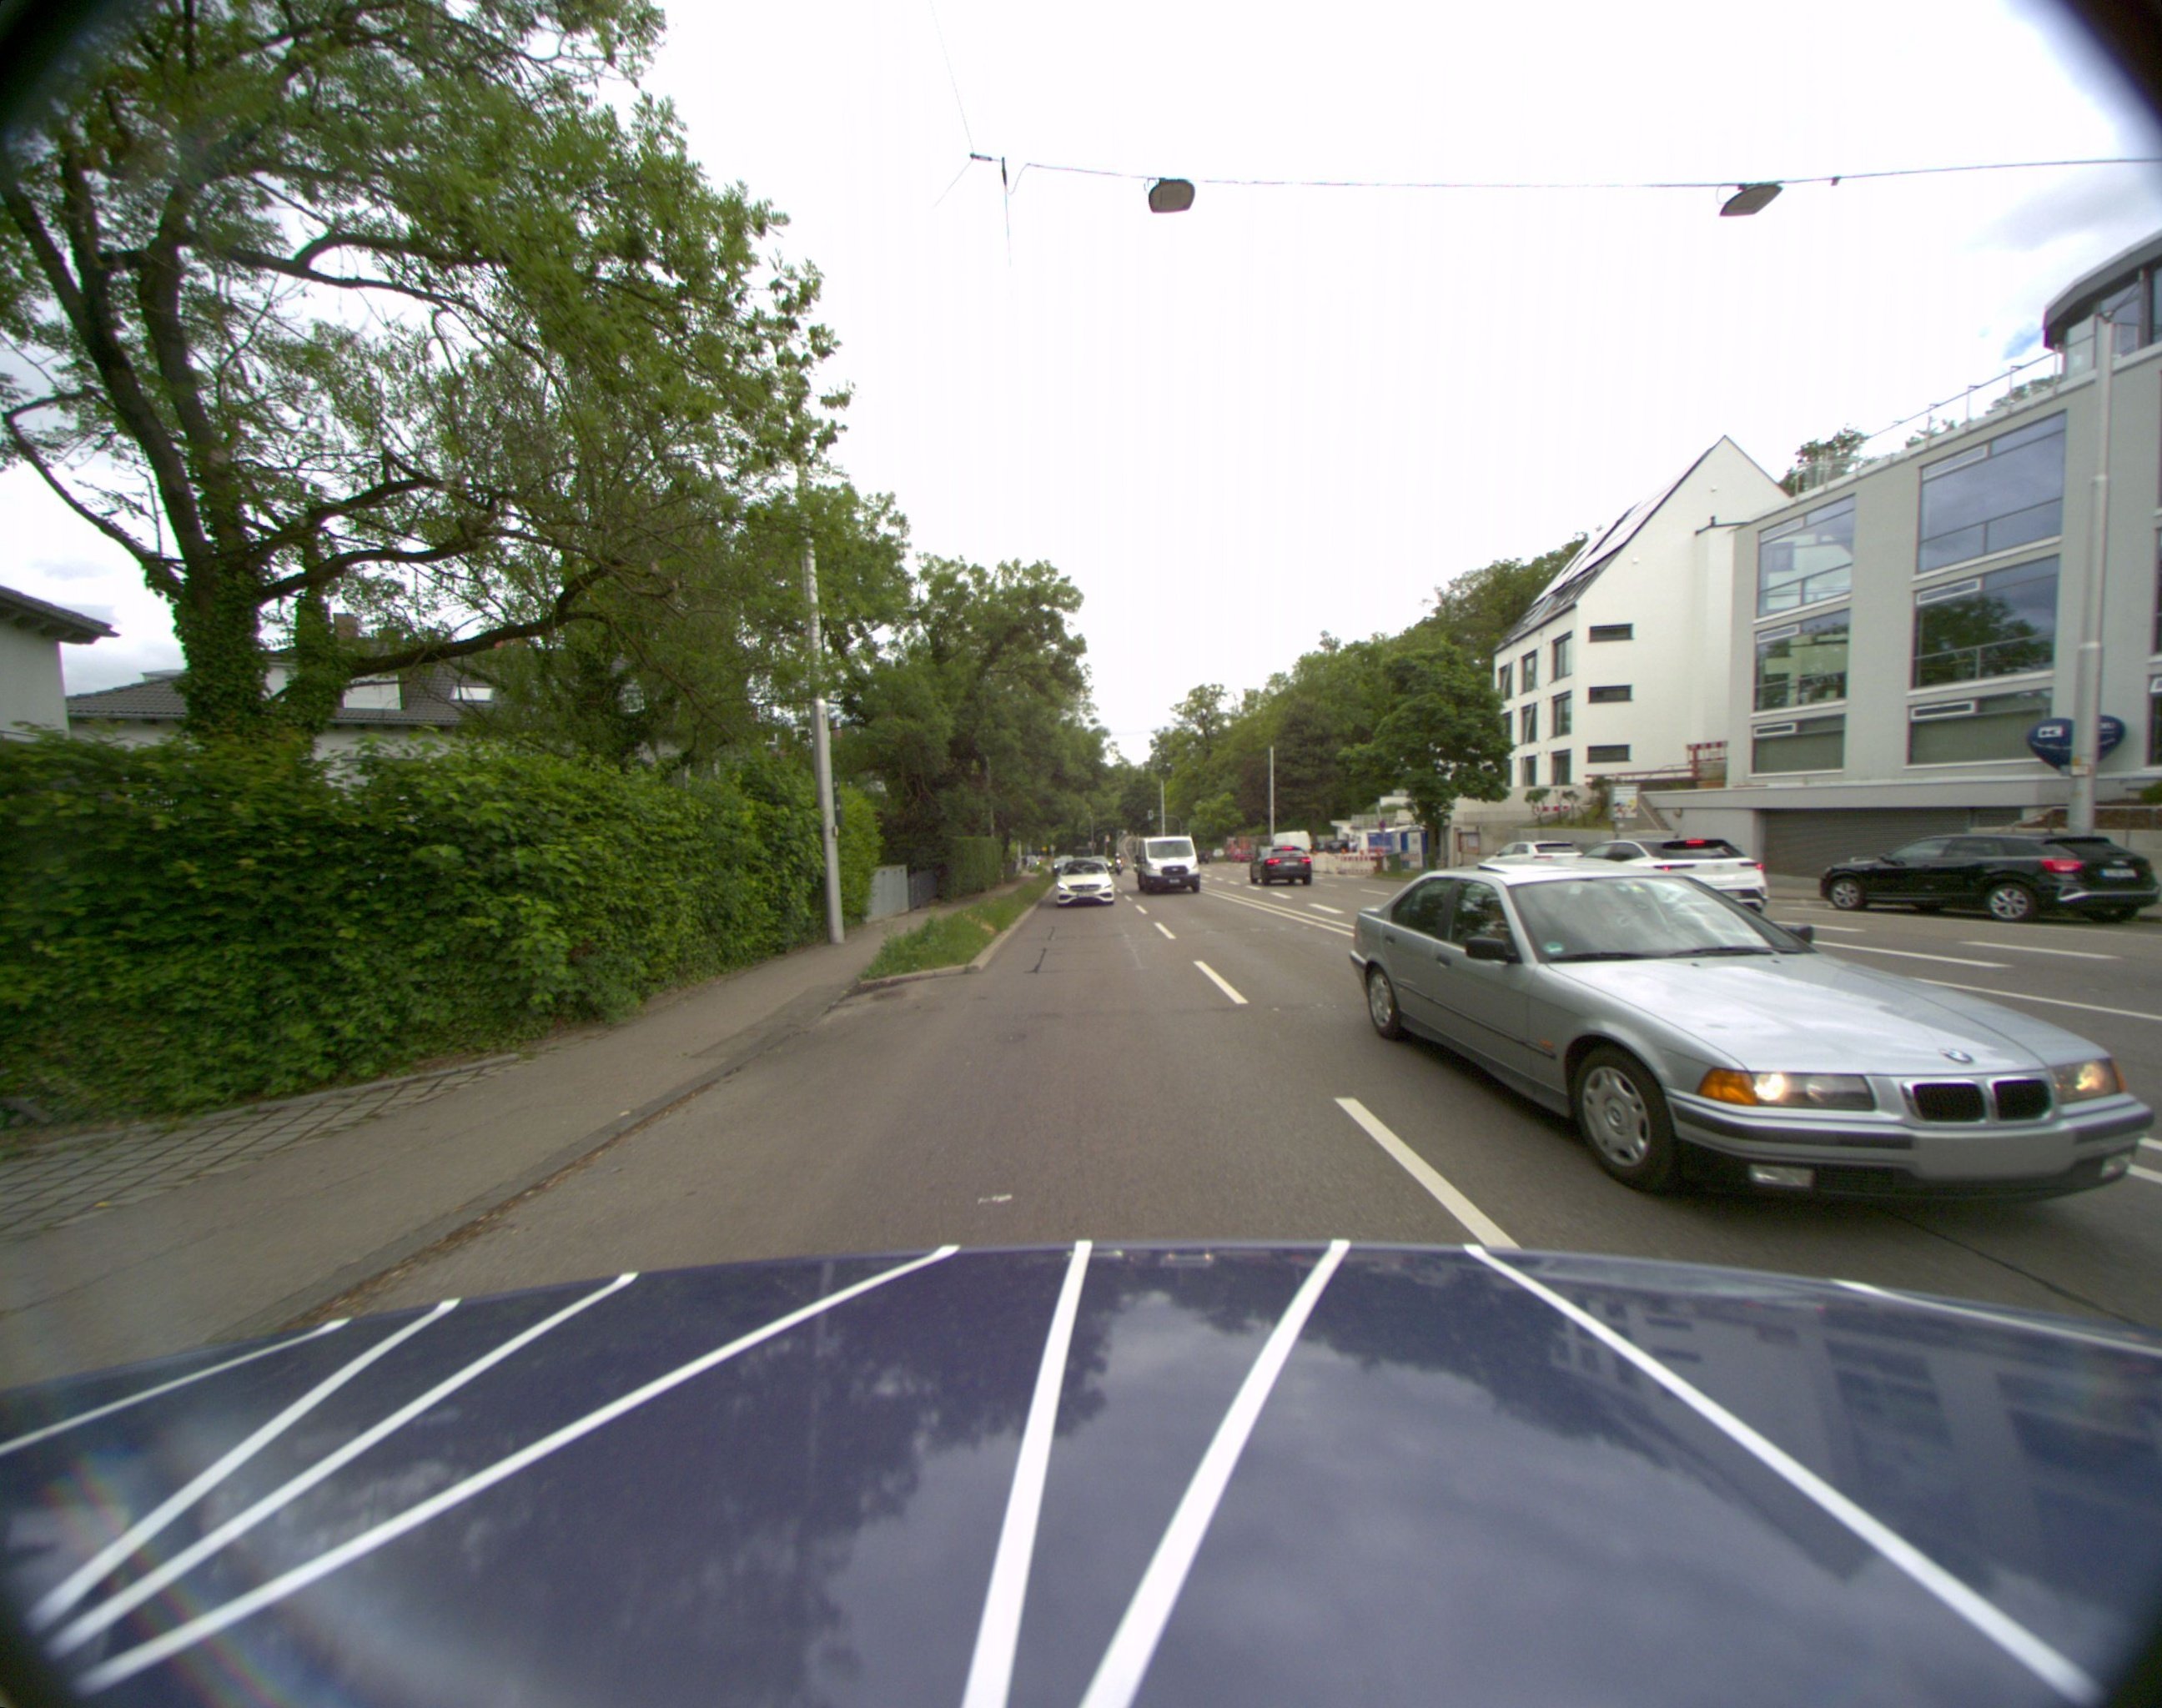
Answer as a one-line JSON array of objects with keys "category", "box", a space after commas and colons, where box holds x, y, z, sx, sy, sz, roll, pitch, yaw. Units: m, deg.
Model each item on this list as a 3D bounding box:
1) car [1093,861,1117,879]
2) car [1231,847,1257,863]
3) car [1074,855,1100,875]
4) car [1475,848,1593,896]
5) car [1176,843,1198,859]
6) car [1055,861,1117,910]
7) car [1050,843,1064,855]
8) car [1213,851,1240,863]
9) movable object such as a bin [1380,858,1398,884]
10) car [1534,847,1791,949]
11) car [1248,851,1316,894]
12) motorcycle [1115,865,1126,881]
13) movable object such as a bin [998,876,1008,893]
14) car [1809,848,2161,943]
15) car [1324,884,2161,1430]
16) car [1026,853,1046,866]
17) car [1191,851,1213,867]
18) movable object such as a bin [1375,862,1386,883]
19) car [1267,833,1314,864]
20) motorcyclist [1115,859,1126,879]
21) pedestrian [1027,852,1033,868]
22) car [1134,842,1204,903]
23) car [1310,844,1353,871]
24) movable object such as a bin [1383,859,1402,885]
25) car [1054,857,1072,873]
[{"category": "car", "box": [2.173, 1.400, 69.373, 1.999, 1.540, 4.000, -2, 0, -1]}, {"category": "car", "box": [15.806, 0.070, 73.917, 1.582, 1.434, 3.294, -2, 0, -4]}, {"category": "car", "box": [0.420, 0.792, 56.217, 1.734, 1.403, 3.999, -2, 0, -2]}, {"category": "car", "box": [15.397, 0.555, 26.106, 1.672, 1.495, 4.238, -1, 0, 2]}, {"category": "car", "box": [10.174, -0.311, 73.108, 1.752, 1.373, 4.323, -2, 0, 3]}, {"category": "car", "box": [0.090, 0.974, 24.817, 1.821, 1.339, 3.999, -2, 0, -2]}, {"category": "car", "box": [-4.099, -0.832, 128.948, 2.000, 1.880, 3.997, -2, 0, -8]}, {"category": "car", "box": [18.451, 0.358, 96.087, 3.301, 1.434, 1.579, -3, 1, -40]}, {"category": "movable object such as a bin", "box": [13.832, 0.780, 34.134, 0.586, 1.131, 0.586, -2, 1, 7]}, {"category": "car", "box": [10.242, 0.684, 13.826, 1.804, 1.532, 3.923, -2, 0, 3]}, {"category": "car", "box": [8.601, 0.747, 32.906, 1.851, 1.693, 4.763, -1, 0, 2]}, {"category": "motorcycle", "box": [3.029, 1.461, 58.502, 0.574, 1.120, 2.295, -4, 0, -3]}, {"category": "movable object such as a bin", "box": [-4.301, 1.692, 41.979, 0.474, 0.906, 0.454, -2, 1, 1]}, {"category": "car", "box": [15.922, 0.628, 13.720, 1.677, 1.420, 4.090, -1, 0, 1]}, {"category": "car", "box": [3.043, 1.000, 4.581, 1.638, 1.375, 4.619, -2, 0, 0]}, {"category": "car", "box": [-6.178, 0.702, 103.130, 2.000, 1.647, 4.431, -3, 0, -12]}, {"category": "car", "box": [12.501, 0.519, 78.767, 1.779, 1.588, 4.226, -2, 0, 3]}, {"category": "movable object such as a bin", "box": [14.293, 0.878, 36.252, 0.327, 0.969, 0.425, -2, 1, 7]}, {"category": "car", "box": [18.593, -0.471, 67.774, 1.999, 2.511, 6.532, -3, 0, -2]}, {"category": "motorcyclist", "box": [3.038, 1.134, 58.467, 0.619, 1.463, 0.930, -4, 1, -3]}, {"category": "pedestrian", "box": [-5.931, 0.739, 88.596, 0.513, 1.824, 0.494, -2, 1, -1]}, {"category": "car", "box": [3.391, 0.685, 30.543, 1.999, 2.161, 6.268, -2, 0, -1]}, {"category": "car", "box": [17.280, 0.210, 52.537, 1.810, 1.741, 4.251, -3, 0, 5]}, {"category": "movable object such as a bin", "box": [13.749, 0.795, 33.502, 0.589, 1.131, 0.645, -2, 1, 7]}, {"category": "car", "box": [-1.776, 1.061, 75.652, 1.675, 1.523, 3.999, -2, 0, -2]}]
